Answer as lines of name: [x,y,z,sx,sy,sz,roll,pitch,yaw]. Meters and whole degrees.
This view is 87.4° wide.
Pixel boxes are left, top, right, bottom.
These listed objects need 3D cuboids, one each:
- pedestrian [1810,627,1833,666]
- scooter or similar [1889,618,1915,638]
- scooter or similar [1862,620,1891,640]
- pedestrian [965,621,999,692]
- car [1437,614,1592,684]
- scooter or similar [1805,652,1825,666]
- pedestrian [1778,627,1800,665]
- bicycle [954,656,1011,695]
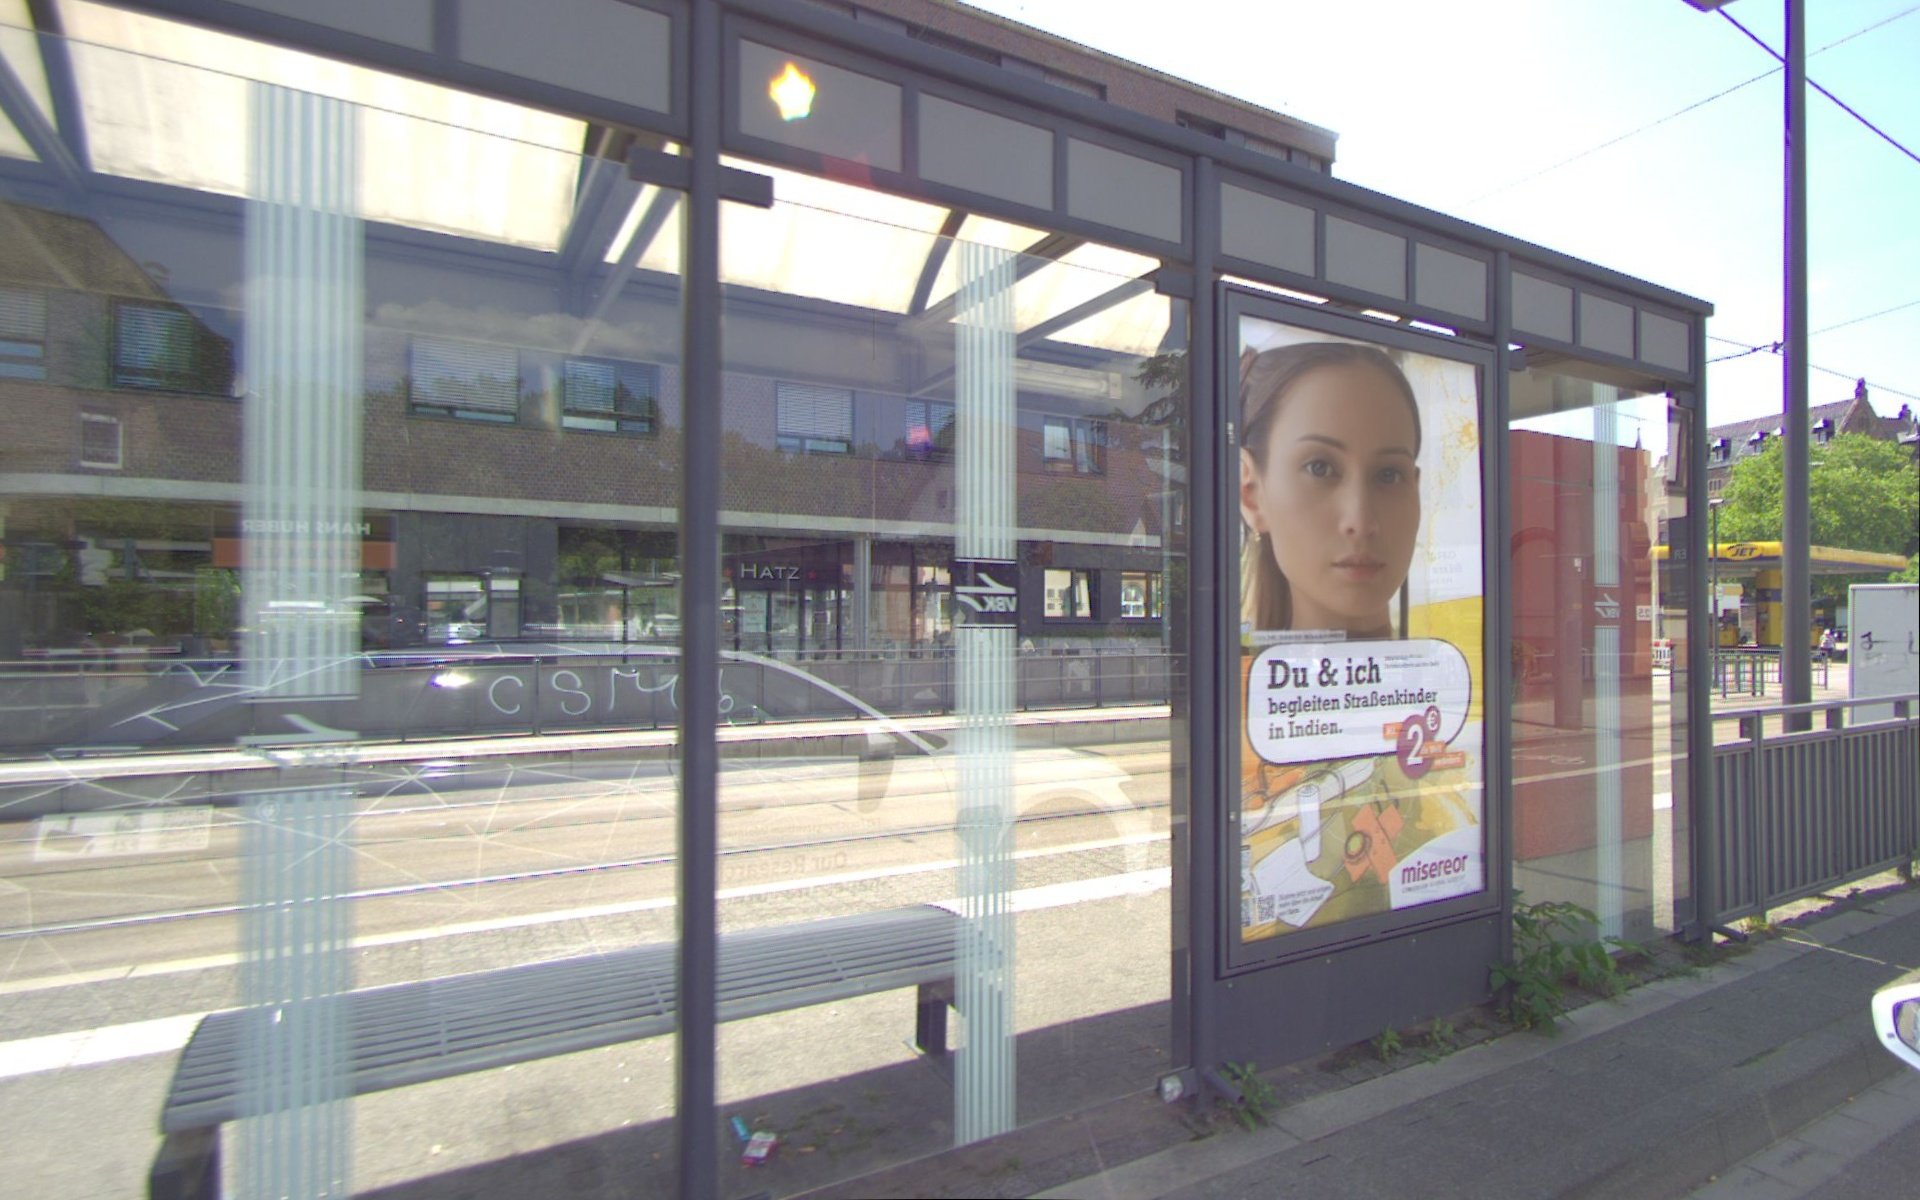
pedestrian: [37.554,2.027,43.786,0.659,1.693,0.578,1,-1,-28]
scooter or similar: [70.358,2.121,75.048,1.047,1.486,1.167,2,-2,-31]
scooter or similar: [69.875,2.270,76.564,1.045,1.486,1.310,1,-2,-25]
pedestrian: [0.445,1.148,20.424,0.529,1.402,0.433,1,-3,-29]
car: [14.150,1.259,25.604,3.729,1.648,1.828,2,-4,-31]
scooter or similar: [37.947,2.632,44.566,0.623,0.588,0.475,1,-1,-26]
pedestrian: [36.986,2.064,44.833,0.664,1.680,0.550,1,-1,-29]
bicycle: [0.467,1.532,20.368,1.172,0.771,0.291,1,-3,-29]
